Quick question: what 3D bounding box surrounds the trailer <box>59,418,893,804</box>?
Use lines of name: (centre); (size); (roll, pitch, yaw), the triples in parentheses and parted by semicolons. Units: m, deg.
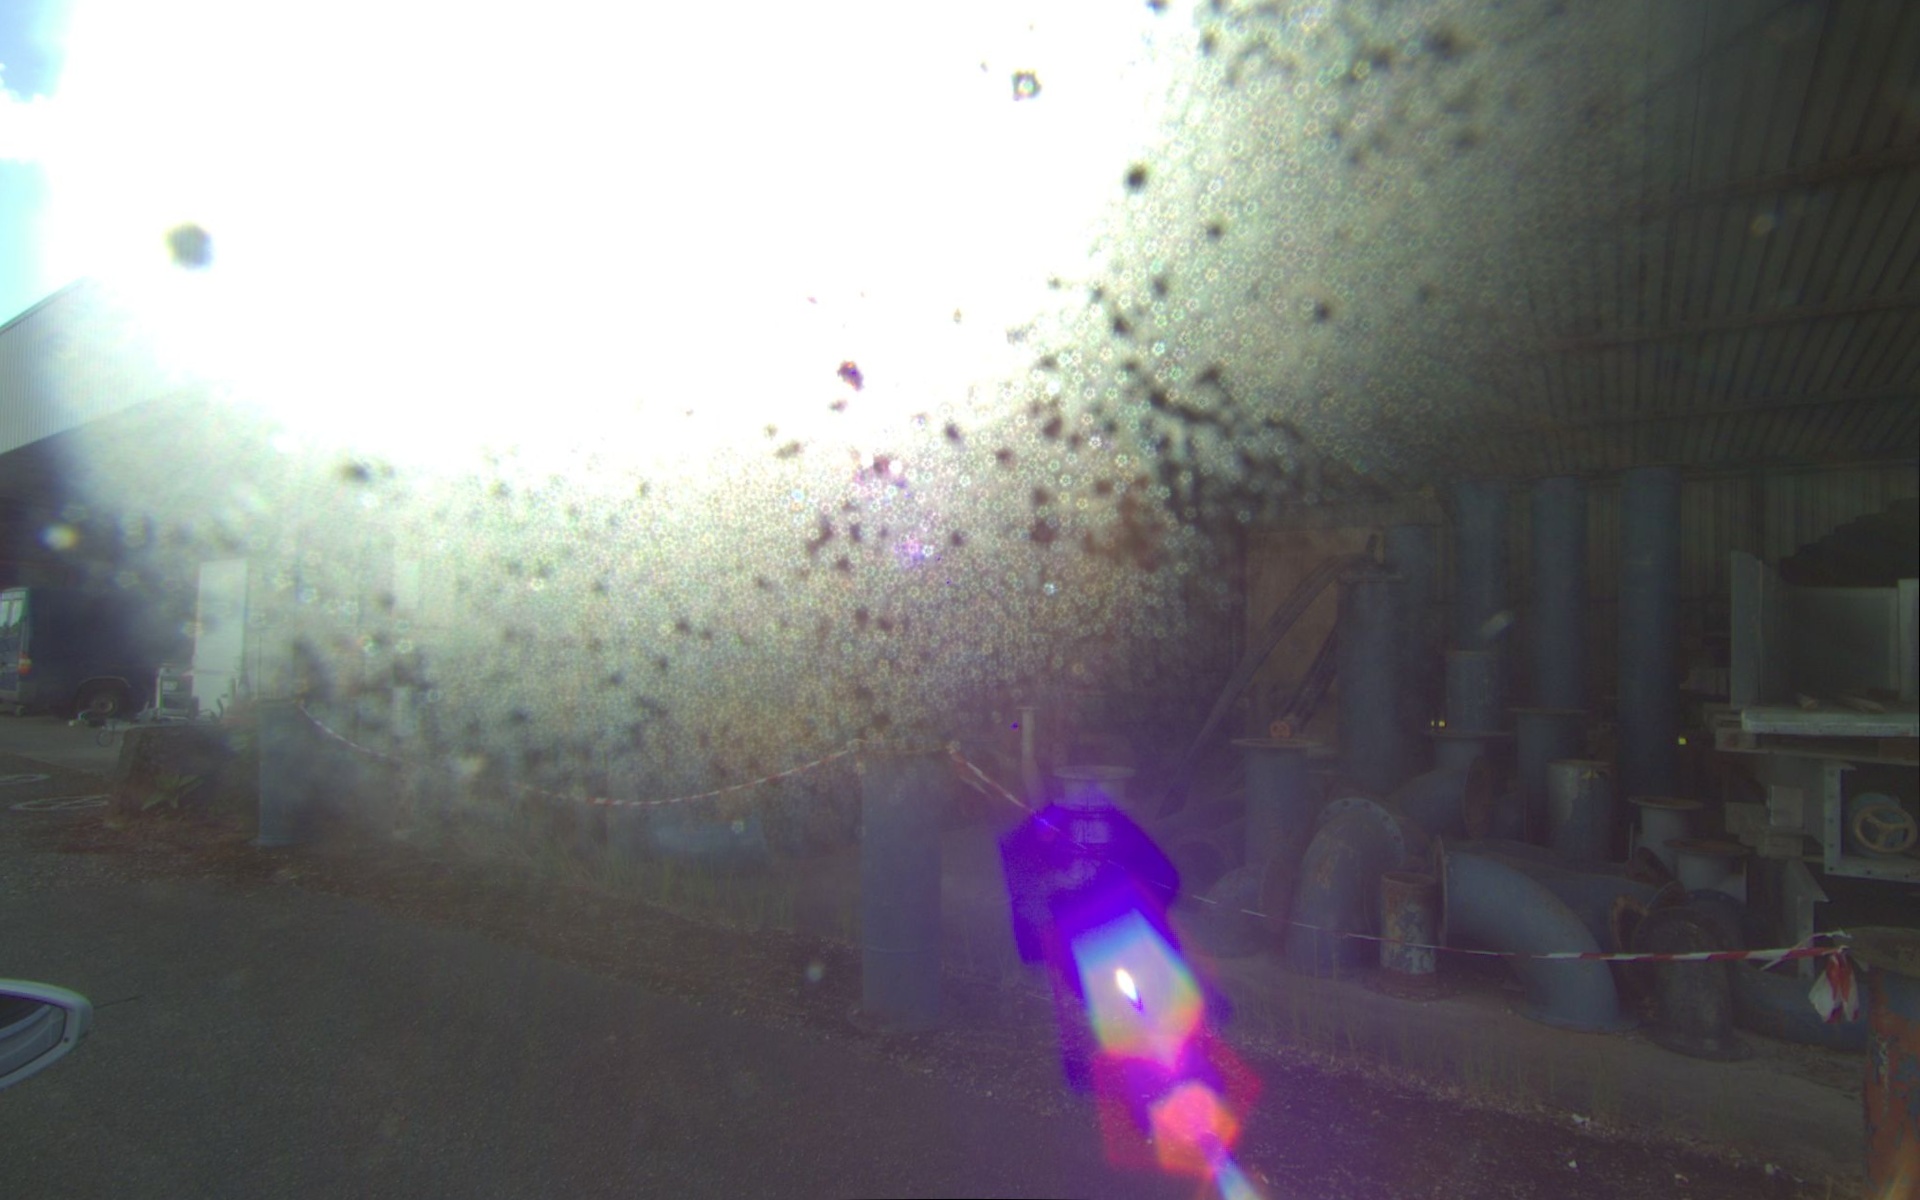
trailer: (-5.063, 0.322, 13.425); (2.814, 3.256, 10.018); (-1, -3, 34)

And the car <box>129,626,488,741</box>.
car: (-9.828, 1.210, 15.488); (1.751, 1.514, 4.324); (-1, -3, 31)

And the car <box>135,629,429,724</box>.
car: (-11.926, 1.304, 17.908); (1.761, 1.491, 3.985); (-1, -3, 29)

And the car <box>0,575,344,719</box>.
car: (-14.776, 0.903, 18.902); (1.973, 2.354, 4.969); (-1, -3, 34)

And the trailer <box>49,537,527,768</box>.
trailer: (-8.381, 0.672, 12.959); (1.804, 2.421, 4.796); (-1, -3, 38)
